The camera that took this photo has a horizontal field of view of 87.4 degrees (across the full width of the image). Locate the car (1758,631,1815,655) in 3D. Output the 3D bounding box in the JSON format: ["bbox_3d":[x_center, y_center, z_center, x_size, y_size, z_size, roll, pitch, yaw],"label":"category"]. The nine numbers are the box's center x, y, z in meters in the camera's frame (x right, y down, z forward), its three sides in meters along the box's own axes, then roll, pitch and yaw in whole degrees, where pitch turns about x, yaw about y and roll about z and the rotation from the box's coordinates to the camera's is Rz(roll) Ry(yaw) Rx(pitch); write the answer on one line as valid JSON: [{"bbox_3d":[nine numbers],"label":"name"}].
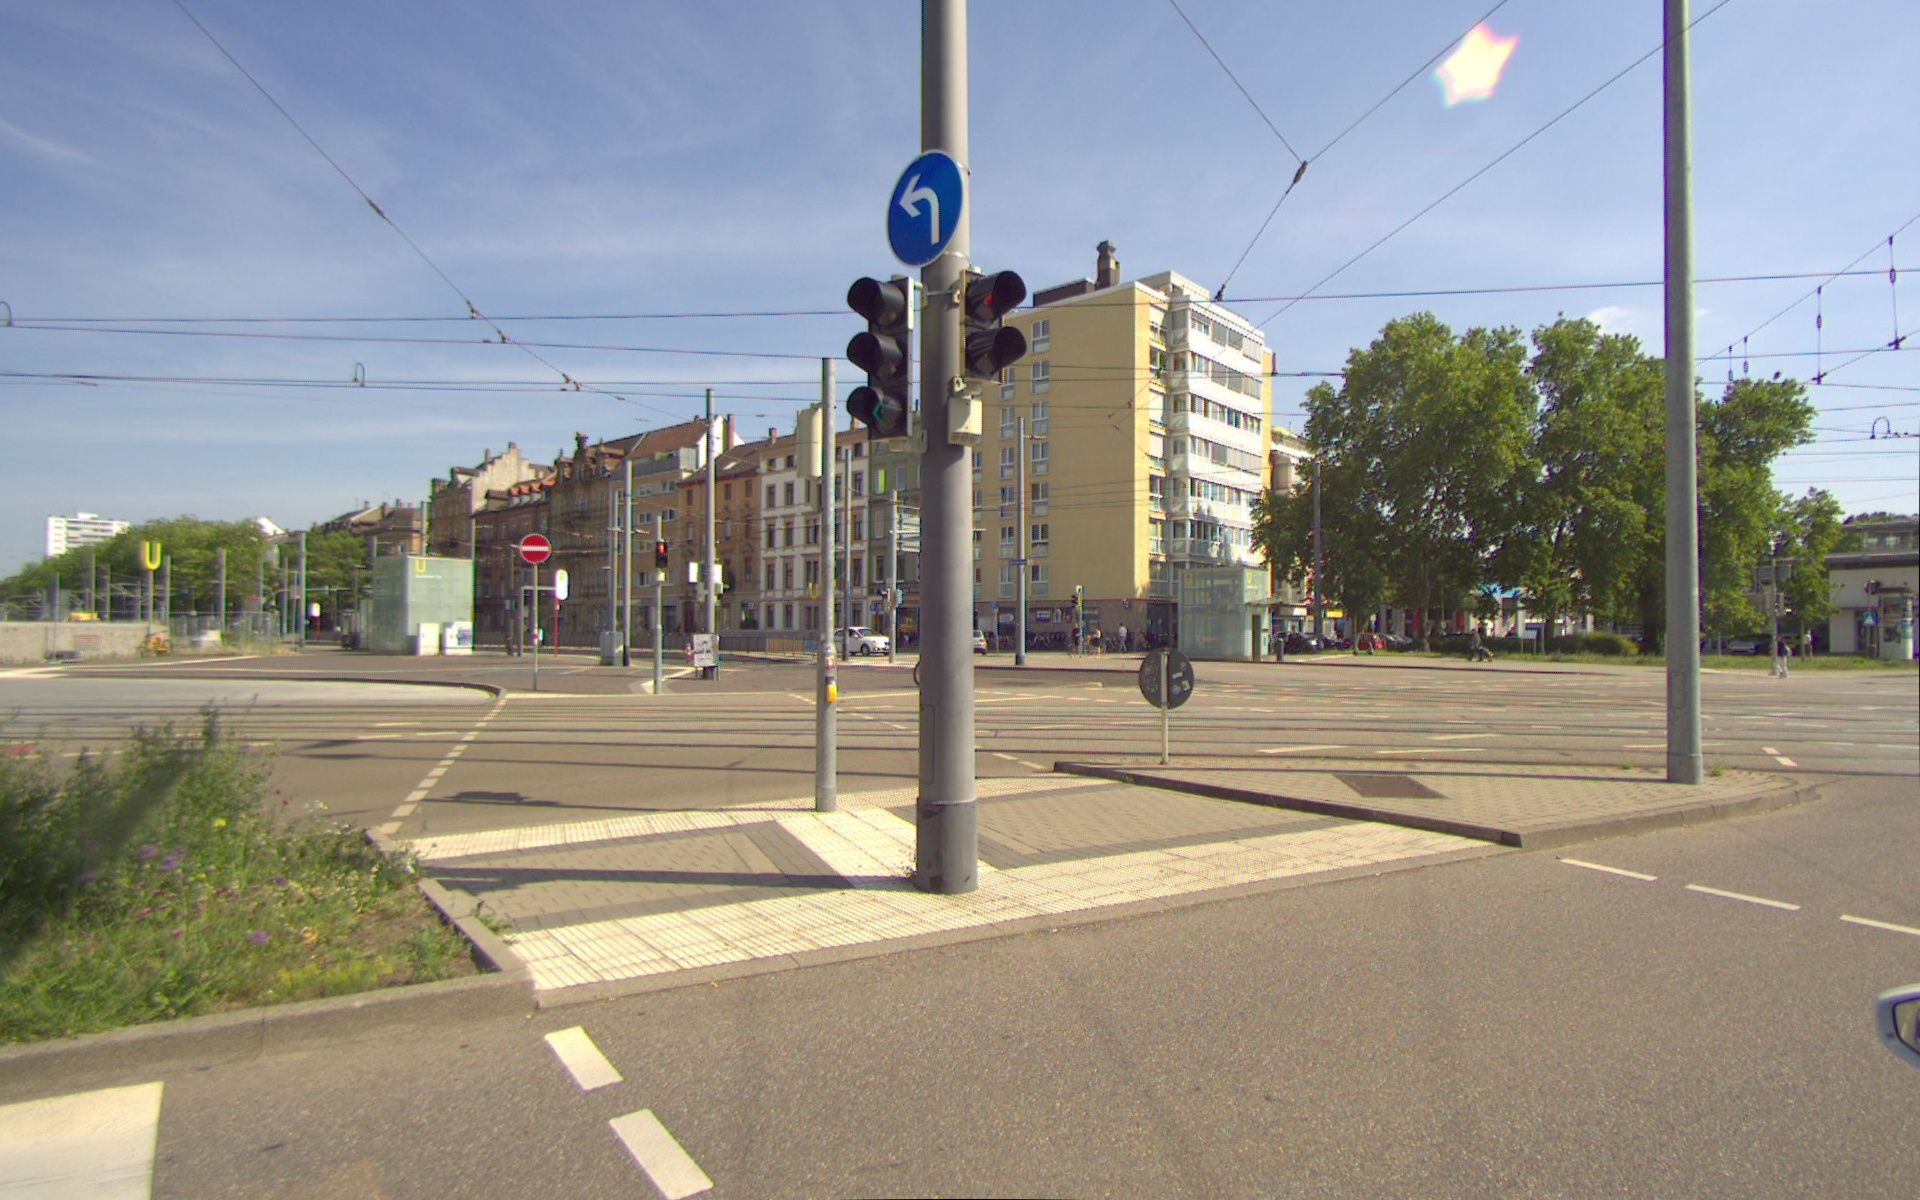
[{"bbox_3d":[64.825,3.394,78.788,3.948,1.706,1.987,2,0,-27],"label":"car"}]

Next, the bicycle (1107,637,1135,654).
[{"bbox_3d":[10.038,2.817,62.654,0.579,1.056,1.736,1,-2,-41],"label":"bicycle"}]

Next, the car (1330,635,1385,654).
[{"bbox_3d":[32.000,3.586,80.884,3.682,1.358,1.734,2,0,43],"label":"car"}]

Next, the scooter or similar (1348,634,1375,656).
[{"bbox_3d":[20.891,2.331,52.247,0.509,1.134,1.358,1,-2,-21],"label":"scooter or similar"}]

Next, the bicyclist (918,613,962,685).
[{"bbox_3d":[-0.488,1.200,24.444,0.746,1.706,0.767,2,-4,-42],"label":"bicyclist"}]

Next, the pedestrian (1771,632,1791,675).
[{"bbox_3d":[31.383,2.047,38.383,0.445,1.626,0.400,2,0,23],"label":"pedestrian"}]

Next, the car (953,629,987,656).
[{"bbox_3d":[0.629,2.555,59.287,1.777,1.458,4.003,1,-4,3],"label":"car"}]

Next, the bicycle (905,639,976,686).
[{"bbox_3d":[-0.492,1.515,24.452,0.746,1.098,1.827,2,-4,-41],"label":"bicycle"}]

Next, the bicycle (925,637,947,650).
[{"bbox_3d":[-1.735,3.177,73.460,1.754,0.977,0.412,-2,0,41],"label":"bicycle"}]

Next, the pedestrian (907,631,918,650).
[{"bbox_3d":[-3.574,3.049,75.400,0.637,1.392,0.524,-1,-2,42],"label":"pedestrian"}]

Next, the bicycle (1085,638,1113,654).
[{"bbox_3d":[8.819,2.887,63.766,0.580,0.978,1.735,1,-2,-43],"label":"bicycle"}]

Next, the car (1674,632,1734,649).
[{"bbox_3d":[67.870,3.688,91.679,1.978,1.528,3.965,1,-2,-32],"label":"car"}]

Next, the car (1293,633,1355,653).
[{"bbox_3d":[27.022,3.184,74.654,3.943,1.287,1.734,2,0,43],"label":"car"}]

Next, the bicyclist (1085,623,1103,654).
[{"bbox_3d":[6.844,1.986,51.477,0.606,1.593,0.727,2,-3,-30],"label":"bicyclist"}]

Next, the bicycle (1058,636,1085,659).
[{"bbox_3d":[5.867,2.495,52.786,0.574,1.145,1.791,-1,-3,35],"label":"bicycle"}]

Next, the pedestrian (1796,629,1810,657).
[{"bbox_3d":[49.392,2.534,58.852,0.455,1.617,0.393,2,0,-8],"label":"pedestrian"}]

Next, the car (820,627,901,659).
[{"bbox_3d":[-5.051,2.129,50.739,4.065,1.417,1.750,-1,1,42],"label":"car"}]

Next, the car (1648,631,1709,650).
[{"bbox_3d":[63.270,3.543,88.498,1.978,1.572,3.965,1,-2,-32],"label":"car"}]

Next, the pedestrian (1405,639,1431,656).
[{"bbox_3d":[25.985,2.700,56.957,1.158,0.904,0.819,-1,-2,40],"label":"pedestrian"}]

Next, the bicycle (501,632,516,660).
[{"bbox_3d":[-19.160,1.939,42.614,0.409,1.085,1.650,0,0,-29],"label":"bicycle"}]

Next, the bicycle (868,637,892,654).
[{"bbox_3d":[-5.423,3.089,68.074,1.794,1.109,0.581,-2,0,42],"label":"bicycle"}]

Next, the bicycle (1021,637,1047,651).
[{"bbox_3d":[4.962,2.958,67.362,1.732,0.928,0.581,-2,-2,43],"label":"bicycle"}]

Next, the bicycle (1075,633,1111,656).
[{"bbox_3d":[6.823,2.256,51.429,1.776,1.145,0.748,1,-2,-31],"label":"bicycle"}]

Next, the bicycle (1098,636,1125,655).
[{"bbox_3d":[9.417,2.805,62.414,0.578,1.100,1.739,-2,0,-36],"label":"bicycle"}]

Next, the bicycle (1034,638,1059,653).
[{"bbox_3d":[5.686,2.976,66.050,0.579,0.928,1.736,1,-2,-40],"label":"bicycle"}]

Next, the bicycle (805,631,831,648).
[{"bbox_3d":[-9.638,2.673,68.197,0.588,1.109,1.739,0,-2,41],"label":"bicycle"}]

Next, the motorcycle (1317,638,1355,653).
[{"bbox_3d":[21.965,2.659,58.702,1.997,0.853,0.641,0,-1,3],"label":"motorcycle"}]

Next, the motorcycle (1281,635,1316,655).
[{"bbox_3d":[18.518,2.458,55.042,0.631,1.076,2.027,1,-2,-23],"label":"motorcycle"}]

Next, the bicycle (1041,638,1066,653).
[{"bbox_3d":[6.189,2.996,66.294,0.579,0.928,1.736,1,-2,-40],"label":"bicycle"}]

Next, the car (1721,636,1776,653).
[{"bbox_3d":[63.304,3.572,80.610,3.948,1.261,1.987,2,0,-27],"label":"car"}]

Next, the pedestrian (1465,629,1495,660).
[{"bbox_3d":[24.328,2.070,47.019,1.099,1.422,0.654,2,0,37],"label":"pedestrian"}]

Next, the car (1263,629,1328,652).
[{"bbox_3d":[23.849,2.876,71.469,3.943,1.459,1.880,2,0,43],"label":"car"}]

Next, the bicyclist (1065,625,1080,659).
[{"bbox_3d":[5.895,2.182,52.620,0.574,1.757,0.615,-1,-3,36],"label":"bicyclist"}]

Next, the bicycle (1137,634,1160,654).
[{"bbox_3d":[11.883,2.770,63.260,0.534,1.201,1.879,-1,-2,43],"label":"bicycle"}]
